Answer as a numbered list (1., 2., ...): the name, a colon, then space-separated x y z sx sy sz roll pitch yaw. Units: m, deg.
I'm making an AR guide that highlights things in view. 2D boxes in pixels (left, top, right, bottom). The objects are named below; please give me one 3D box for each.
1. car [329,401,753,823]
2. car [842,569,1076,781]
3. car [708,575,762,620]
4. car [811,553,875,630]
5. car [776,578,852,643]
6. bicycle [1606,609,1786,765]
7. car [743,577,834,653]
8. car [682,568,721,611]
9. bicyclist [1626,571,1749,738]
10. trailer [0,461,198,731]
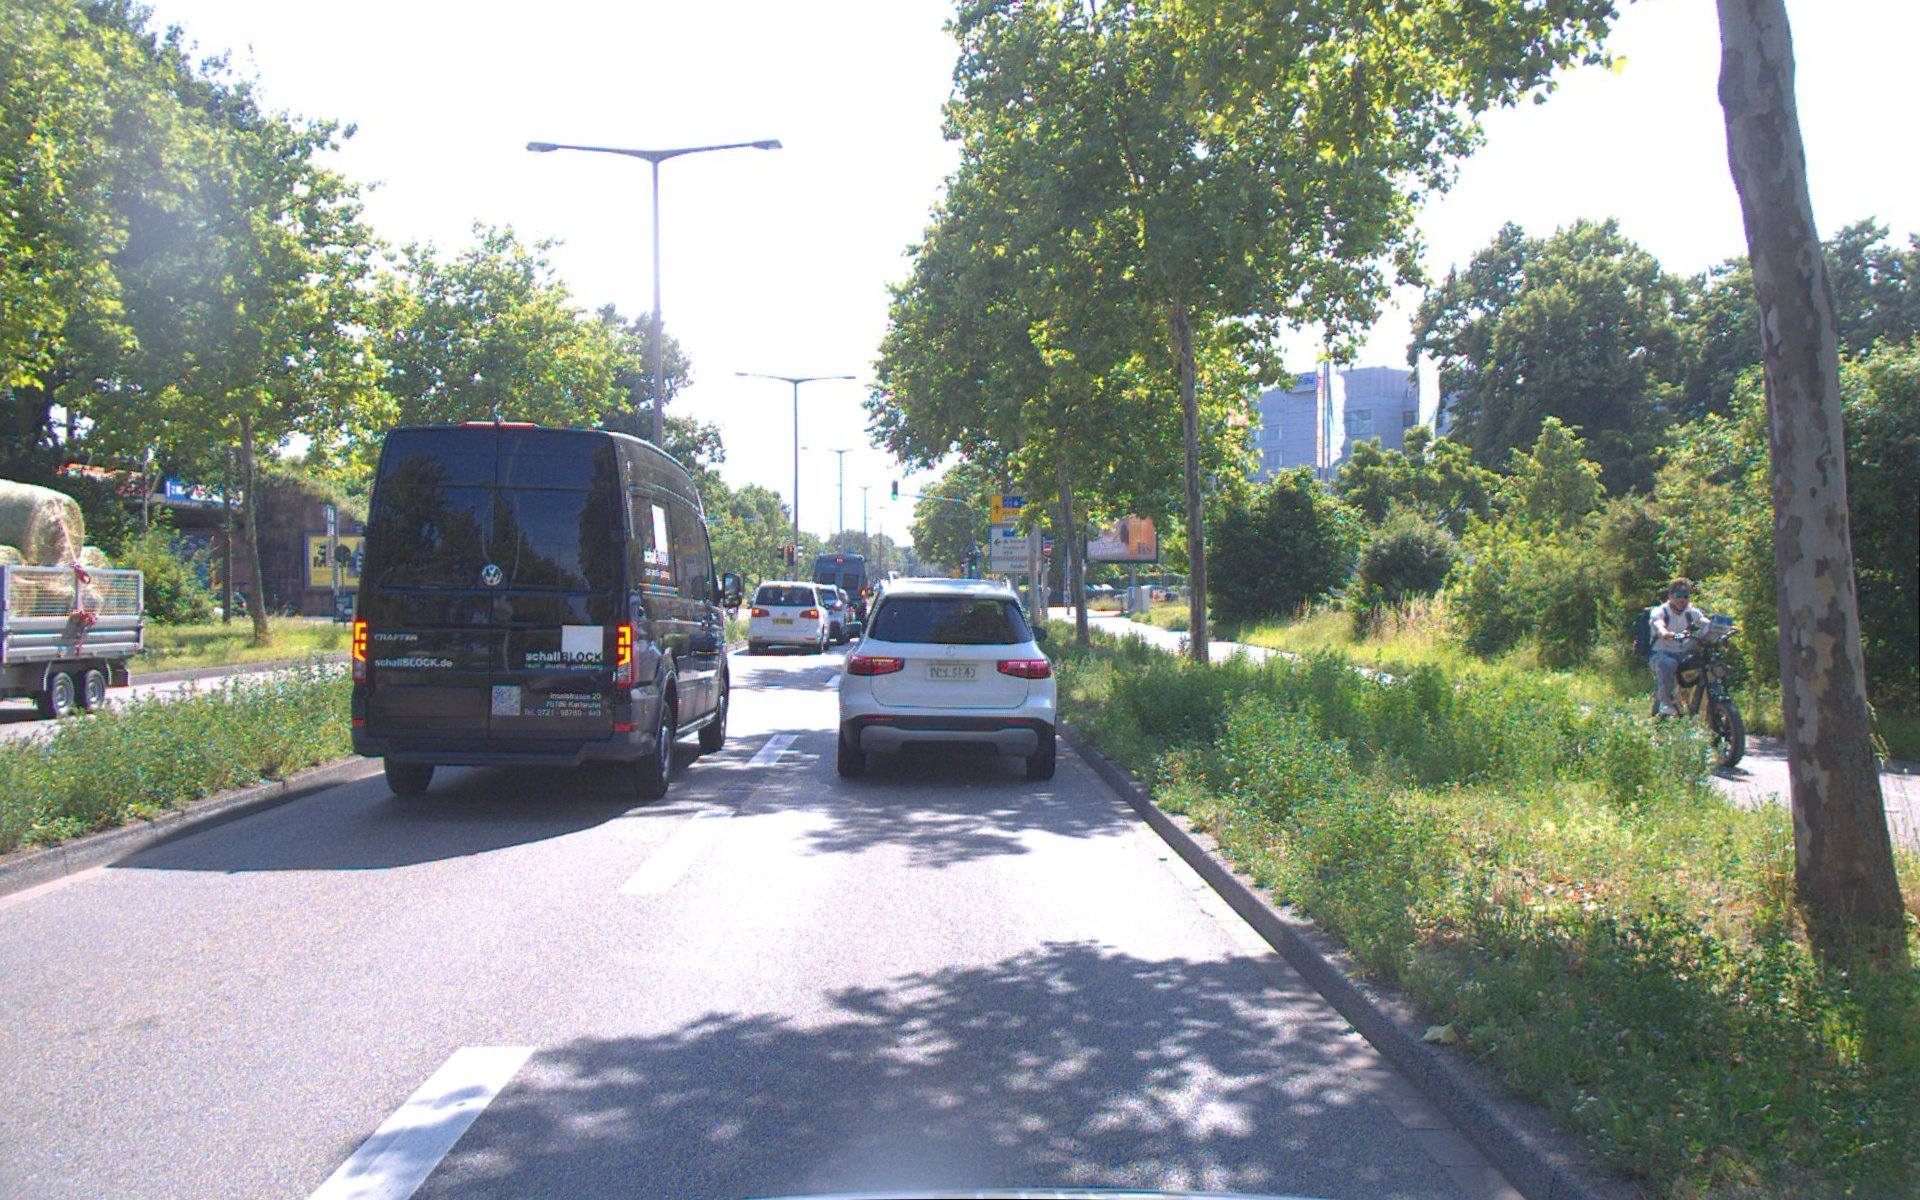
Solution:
1. car: -3.051 0.075 13.618 1.975 2.653 6.167 1 0 -1
2. car: -0.132 0.571 14.816 1.817 1.635 3.997 0 0 -4
3. car: -10.066 -0.119 74.235 1.953 1.914 3.999 2 0 -2
4. car: -4.291 -0.306 61.409 2.039 2.703 4.873 1 0 -1
5. car: -3.952 0.278 45.238 1.735 1.676 4.084 1 0 -1
6. bicycle: 6.776 0.760 15.352 0.708 1.321 2.095 1 0 -1
7. car: -4.023 0.337 39.340 1.735 1.676 4.351 1 0 -1
8. car: -15.245 -0.611 97.898 1.955 2.460 5.133 1 0 -6
9. bicyclist: 6.796 0.491 15.491 0.690 1.503 1.009 1 0 -1
10. trailer: -10.871 -0.069 19.130 1.842 2.792 4.828 2 0 -1
